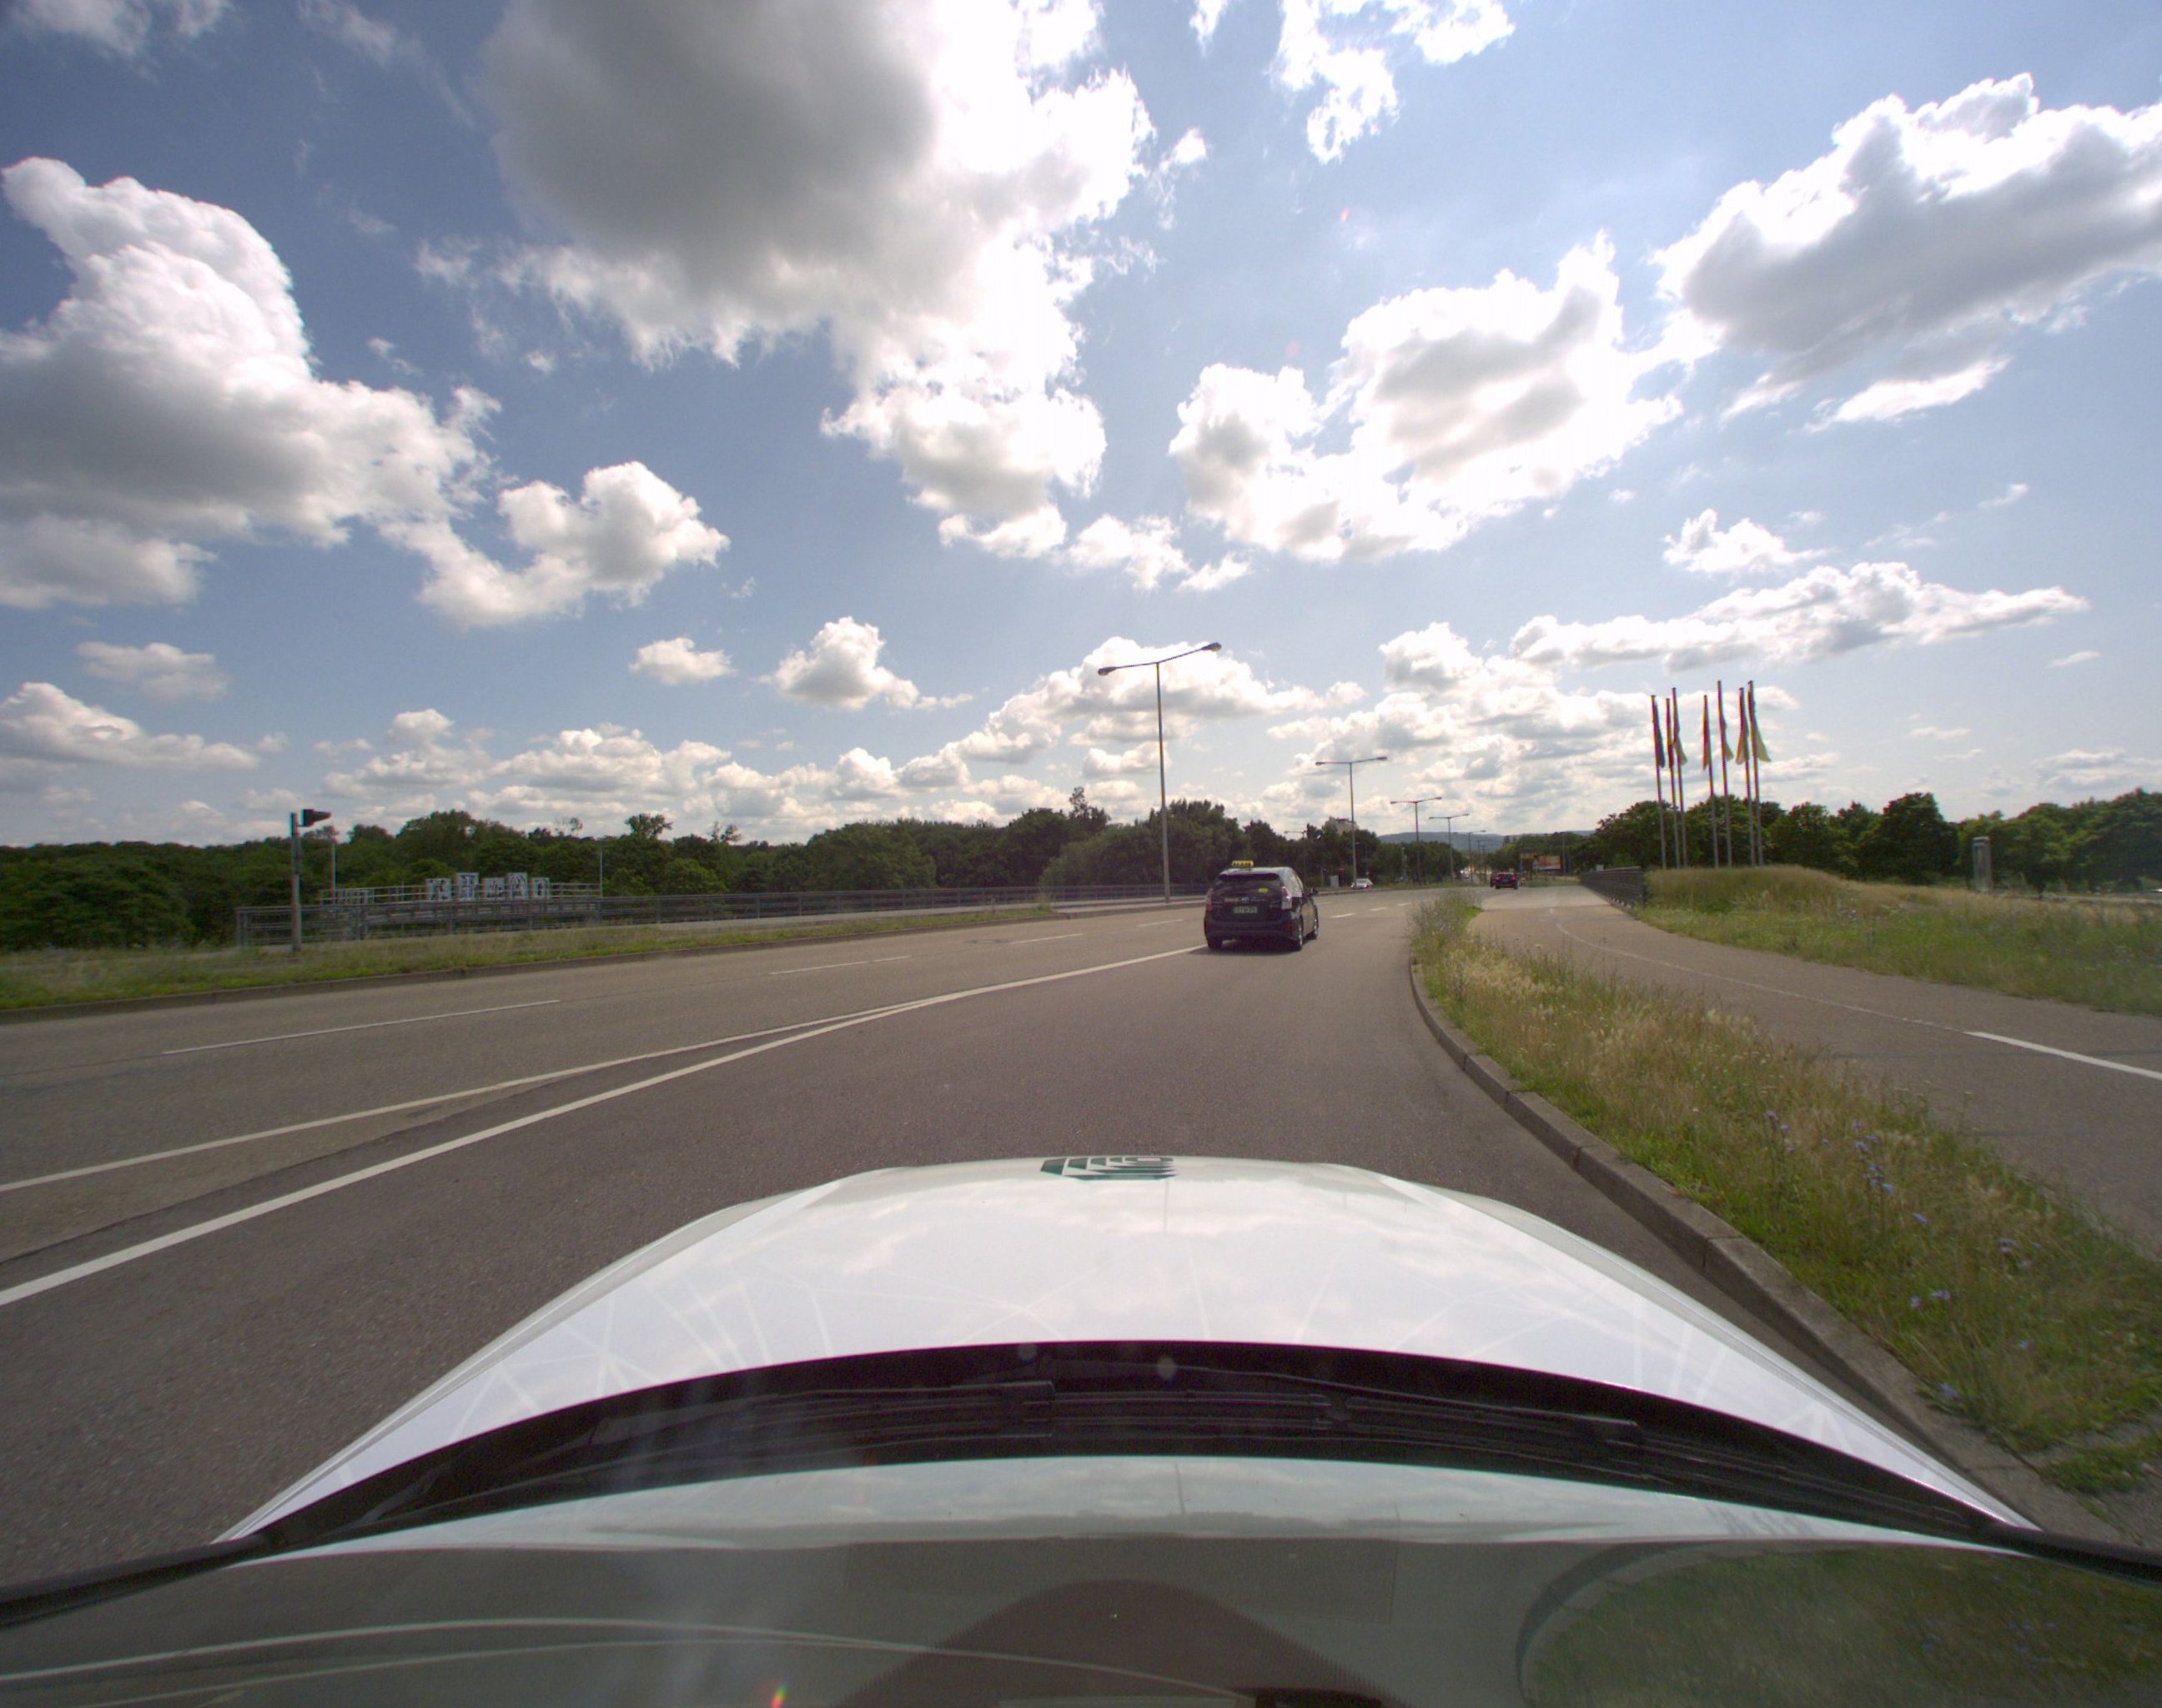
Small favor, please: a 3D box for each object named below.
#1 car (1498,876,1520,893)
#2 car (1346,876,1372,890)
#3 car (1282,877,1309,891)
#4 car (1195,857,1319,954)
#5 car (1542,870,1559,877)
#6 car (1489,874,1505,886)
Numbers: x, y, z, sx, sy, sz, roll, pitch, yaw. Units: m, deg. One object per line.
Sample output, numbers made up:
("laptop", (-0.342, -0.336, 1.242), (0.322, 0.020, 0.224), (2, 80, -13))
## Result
("car", (44.686, 3.183, 85.066), (1.975, 1.662, 4.024), (-1, -1, 27))
("car", (31.649, 3.316, 92.702), (1.647, 1.413, 4.578), (-6, -4, 32))
("car", (25.687, 3.560, 97.332), (2.068, 1.626, 4.577), (-1, -1, 29))
("car", (3.661, 0.933, 16.372), (1.764, 1.684, 4.021), (-1, -1, 22))
("car", (105.369, 4.370, 182.694), (1.982, 1.662, 4.009), (-1, -1, 8))
("car", (60.274, 3.775, 117.974), (1.975, 1.662, 4.024), (-1, -1, 27))
